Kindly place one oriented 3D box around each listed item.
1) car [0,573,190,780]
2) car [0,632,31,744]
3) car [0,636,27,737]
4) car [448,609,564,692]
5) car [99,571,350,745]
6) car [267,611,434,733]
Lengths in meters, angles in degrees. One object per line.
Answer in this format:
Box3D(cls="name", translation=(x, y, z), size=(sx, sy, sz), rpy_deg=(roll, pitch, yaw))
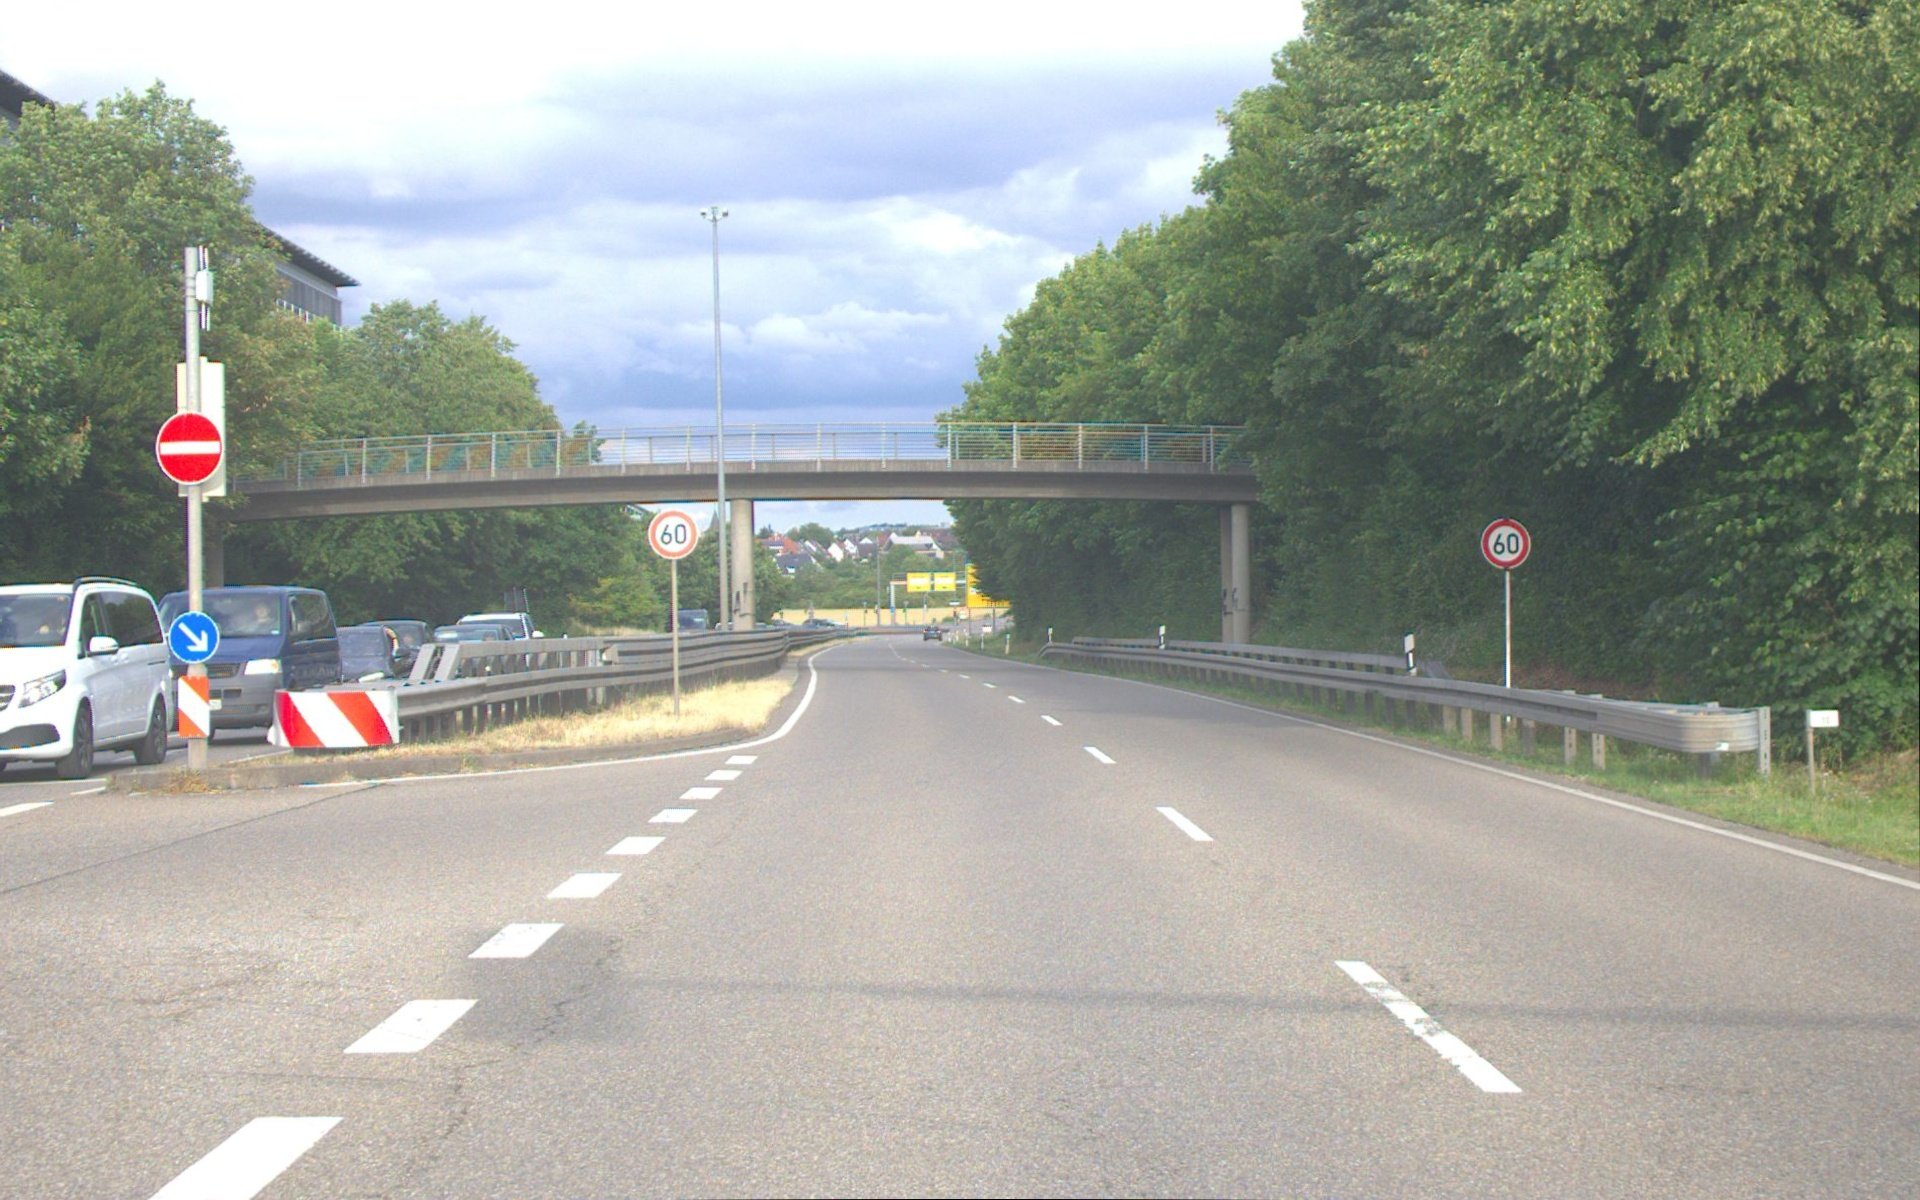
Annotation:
Box3D(cls="car", translation=(-9.129, 0.730, 33.891), size=(1.934, 1.866, 5.347), rpy_deg=(-2, 0, -1))
Box3D(cls="car", translation=(-12.756, 1.107, 42.005), size=(1.648, 1.383, 4.185), rpy_deg=(-1, 0, 0))
Box3D(cls="car", translation=(-12.786, 1.143, 41.915), size=(1.721, 1.236, 4.000), rpy_deg=(-4, 0, -1))
Box3D(cls="car", translation=(-9.364, 1.014, 71.191), size=(1.822, 1.579, 4.791), rpy_deg=(-2, 0, -2))
Box3D(cls="car", translation=(-9.037, 0.694, 42.678), size=(1.898, 1.910, 5.050), rpy_deg=(-4, 0, 0))
Box3D(cls="car", translation=(-8.904, 1.017, 50.549), size=(1.712, 1.583, 4.555), rpy_deg=(-2, 1, -2))
